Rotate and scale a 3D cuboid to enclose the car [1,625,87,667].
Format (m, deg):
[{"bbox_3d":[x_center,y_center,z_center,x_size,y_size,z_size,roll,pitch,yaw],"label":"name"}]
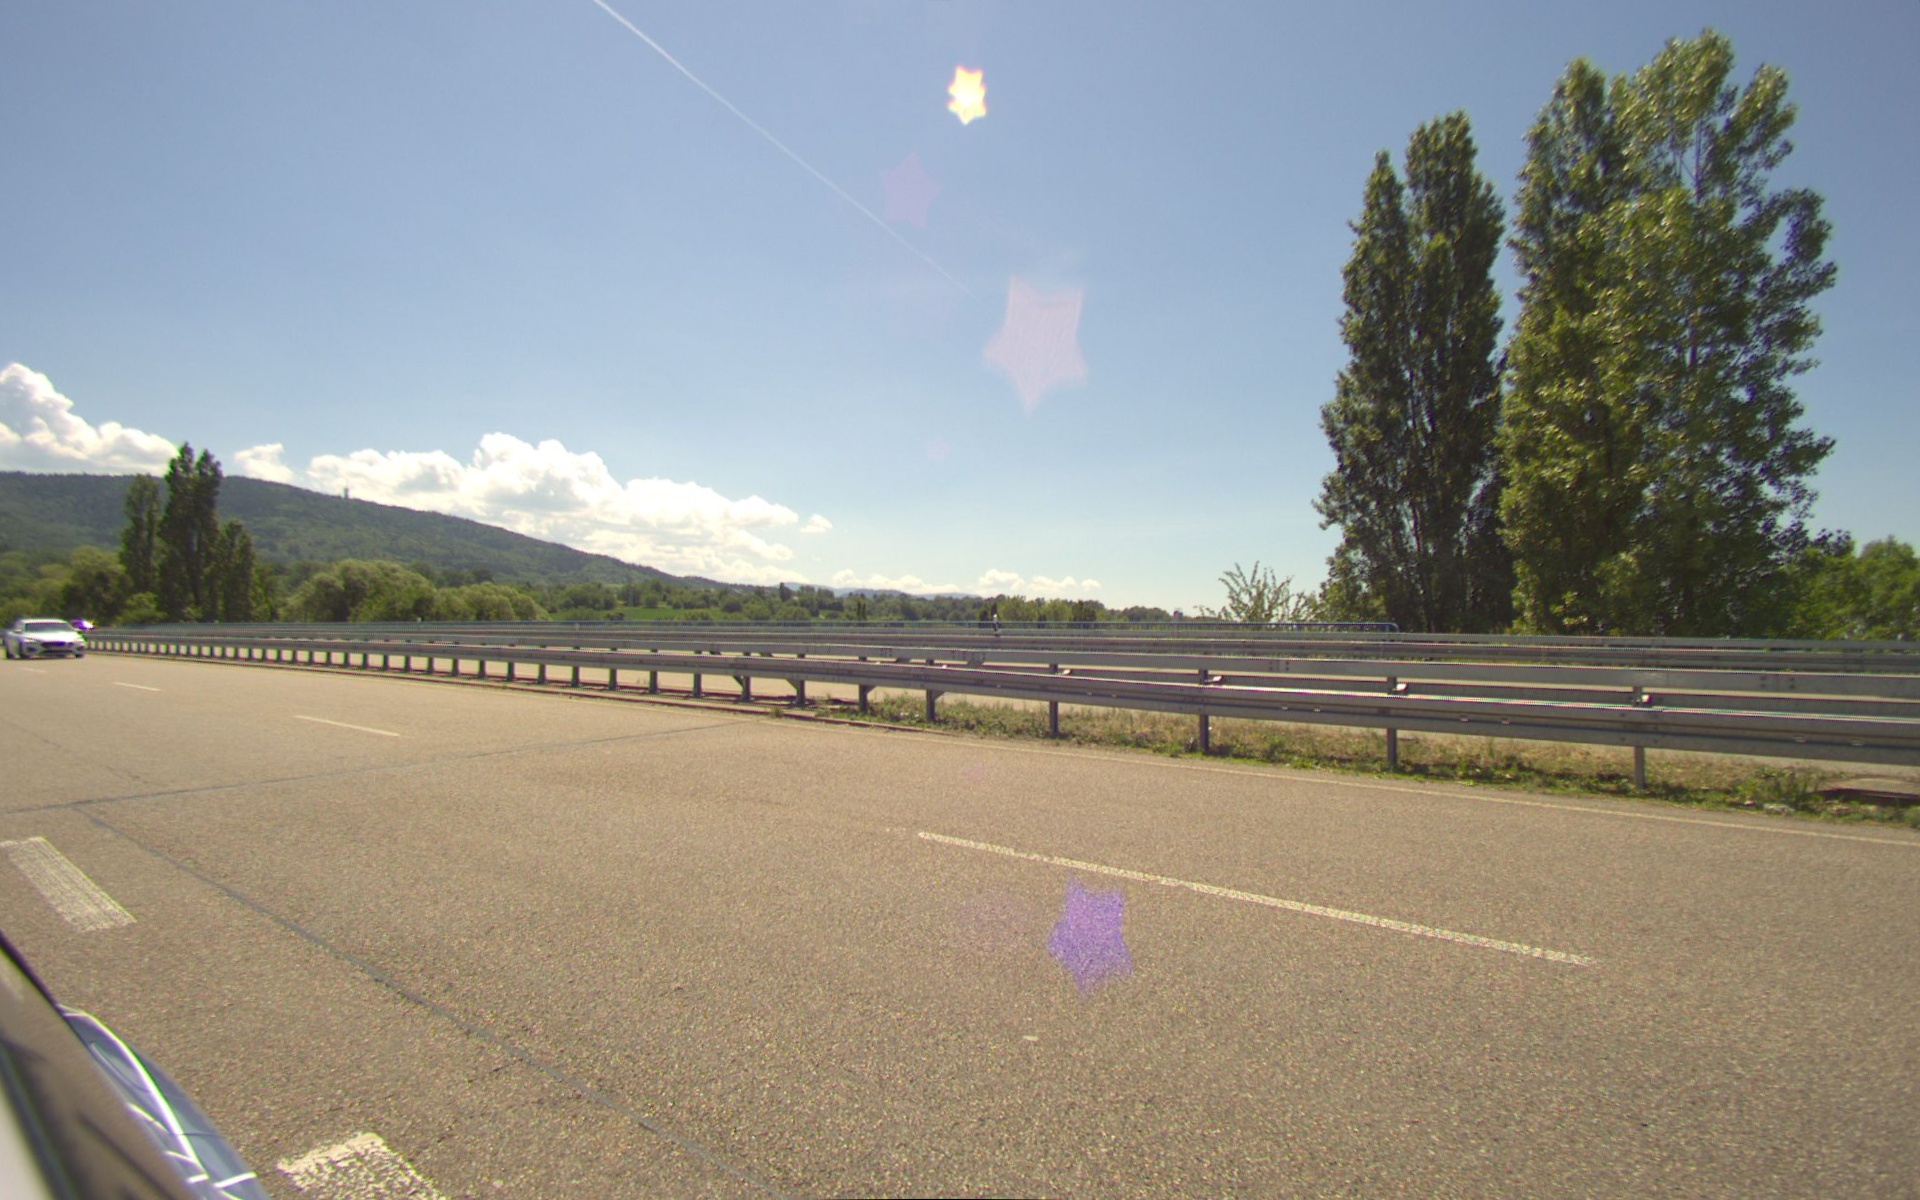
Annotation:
[{"bbox_3d":[-34.192,1.674,37.739,4.467,1.418,1.822,-1,-1,40],"label":"car"}]

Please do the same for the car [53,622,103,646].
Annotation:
[{"bbox_3d":[-63.674,2.447,73.024,5.044,1.680,1.825,-1,-2,38],"label":"car"}]
